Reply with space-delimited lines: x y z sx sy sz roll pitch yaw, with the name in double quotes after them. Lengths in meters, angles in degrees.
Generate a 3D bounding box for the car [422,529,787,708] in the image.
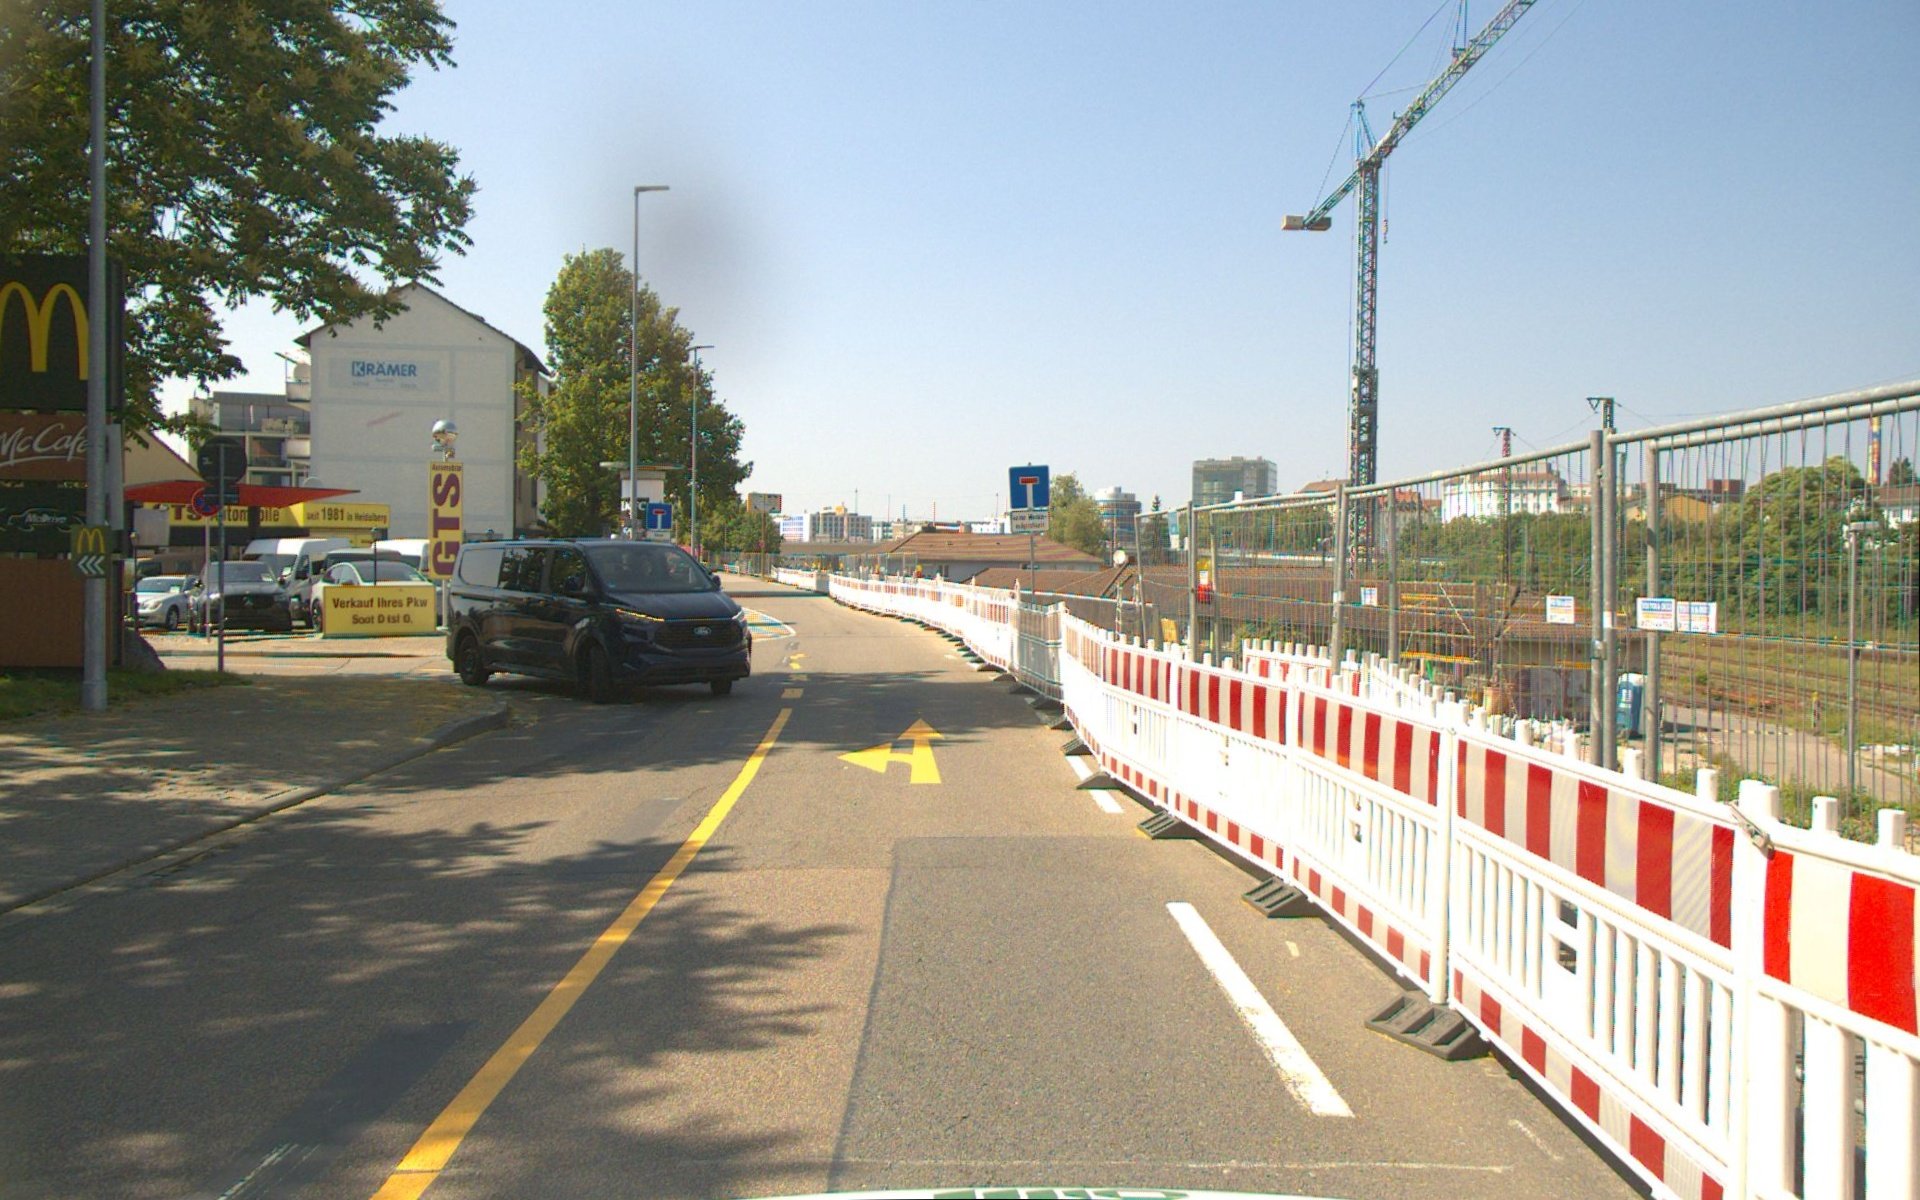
-4.772 0.178 21.606 2.167 2.002 5.357 -4 3 -43 "car"

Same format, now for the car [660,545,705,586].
-18.107 -2.208 108.184 2.489 2.564 5.111 1 0 -6 "car"

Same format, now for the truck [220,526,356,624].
-21.664 -0.798 53.624 2.224 2.954 5.939 2 1 -3 "truck"

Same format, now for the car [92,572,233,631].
-21.507 0.038 44.801 1.751 1.513 4.001 1 0 2 "car"

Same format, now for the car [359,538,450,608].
-19.215 -0.928 57.378 2.095 2.324 4.703 1 1 -8 "car"

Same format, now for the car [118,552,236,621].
-24.846 -0.424 52.675 1.955 2.049 4.490 1 0 -6 "car"

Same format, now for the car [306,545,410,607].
-18.623 -0.734 51.371 1.841 1.768 4.718 2 1 -5 "car"

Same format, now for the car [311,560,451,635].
-14.300 -0.069 40.734 1.982 1.756 3.942 1 0 -40 "car"

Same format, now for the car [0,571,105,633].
-25.459 0.038 44.168 4.302 1.612 1.968 1 0 -44 "car"

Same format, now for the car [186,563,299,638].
-16.805 -0.003 38.615 2.024 1.622 4.381 1 0 -29 "car"

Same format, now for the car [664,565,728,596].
-15.047 -1.114 94.489 1.696 1.666 3.260 1 0 42 "car"

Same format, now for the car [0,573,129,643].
-21.258 0.170 38.915 1.754 1.536 3.994 1 0 -7 "car"
